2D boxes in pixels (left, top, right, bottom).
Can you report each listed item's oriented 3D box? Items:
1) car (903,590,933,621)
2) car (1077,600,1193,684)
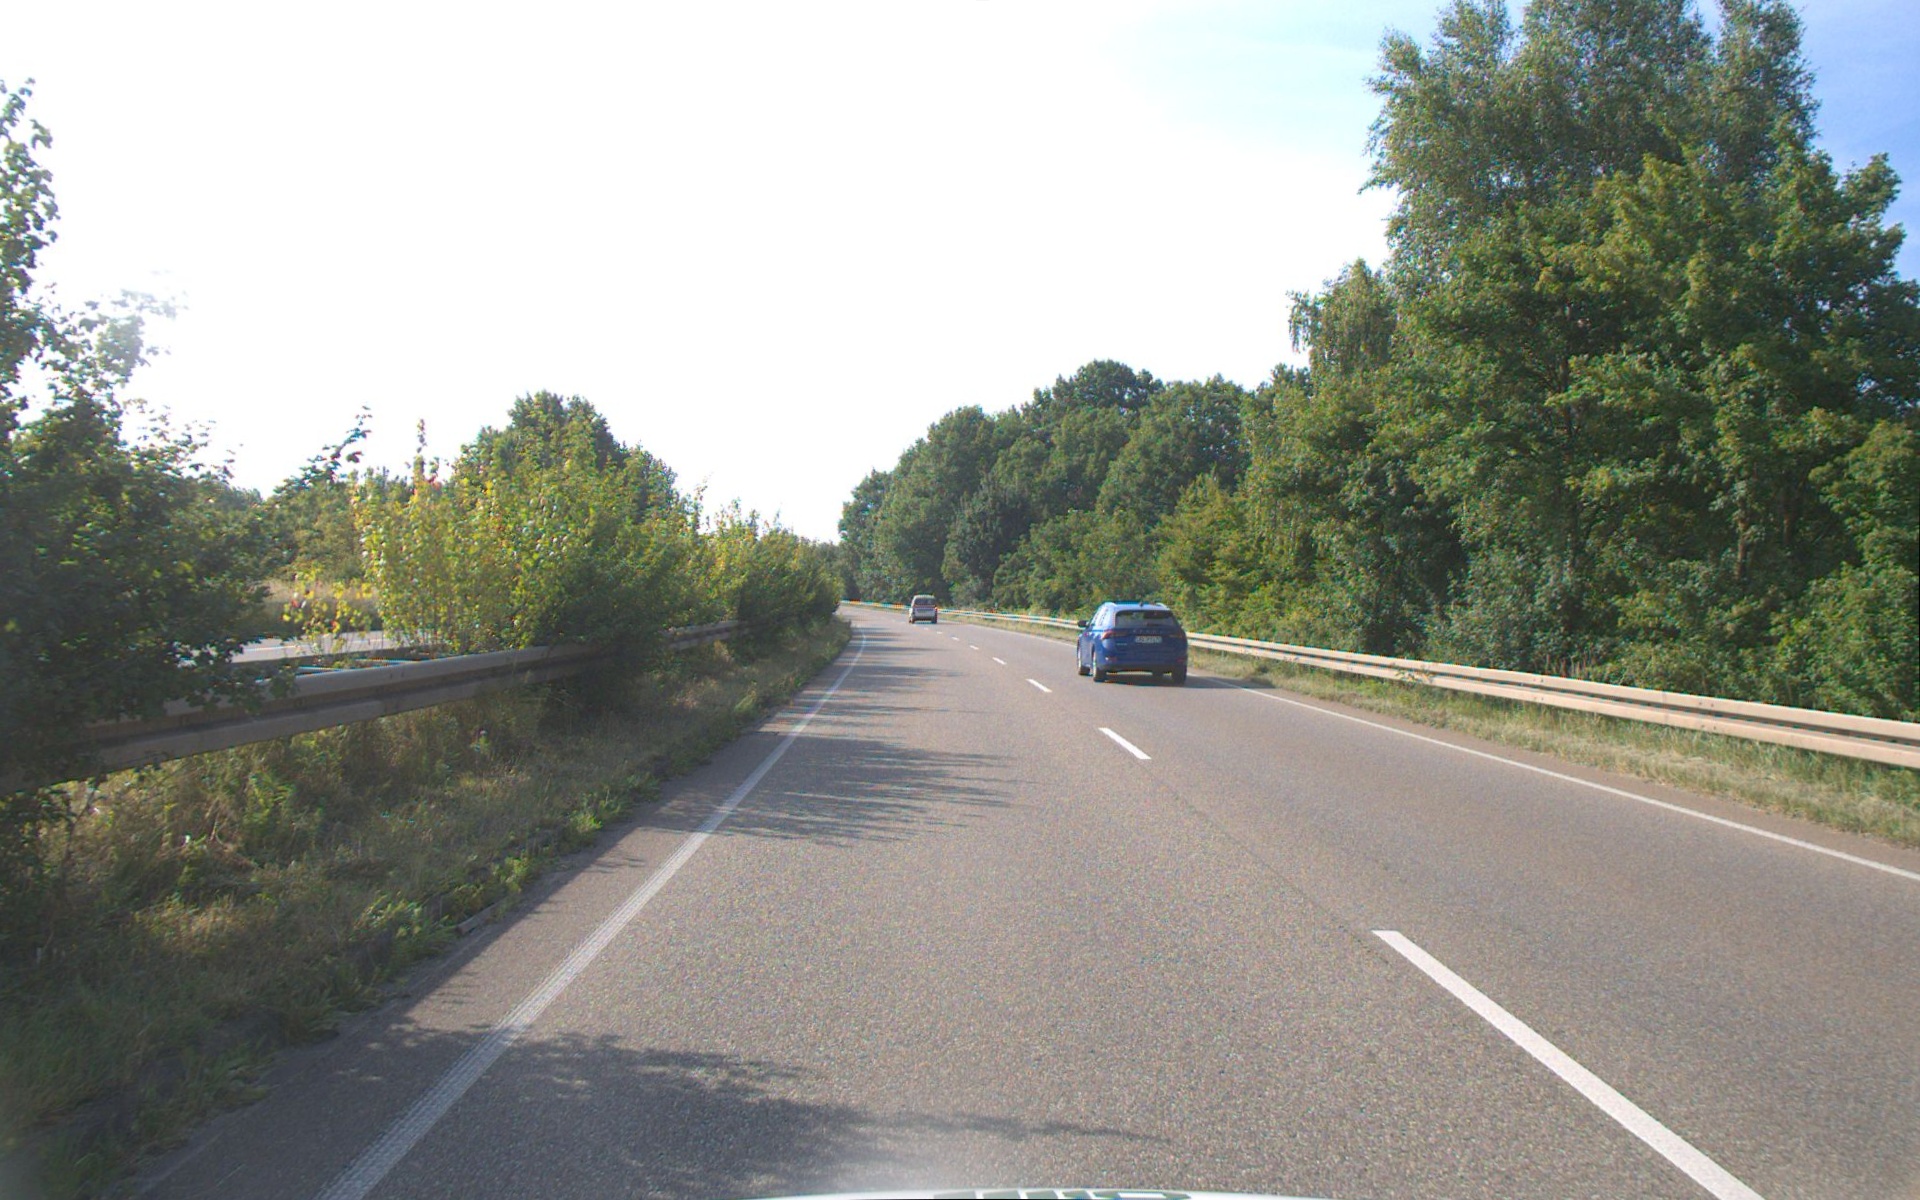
[{"bbox_3d":[-2.780,0.362,108.327,1.731,1.914,3.996,1,1,-5],"label":"car"},{"bbox_3d":[3.291,0.755,31.746,1.743,1.477,3.999,1,0,-1],"label":"car"}]
